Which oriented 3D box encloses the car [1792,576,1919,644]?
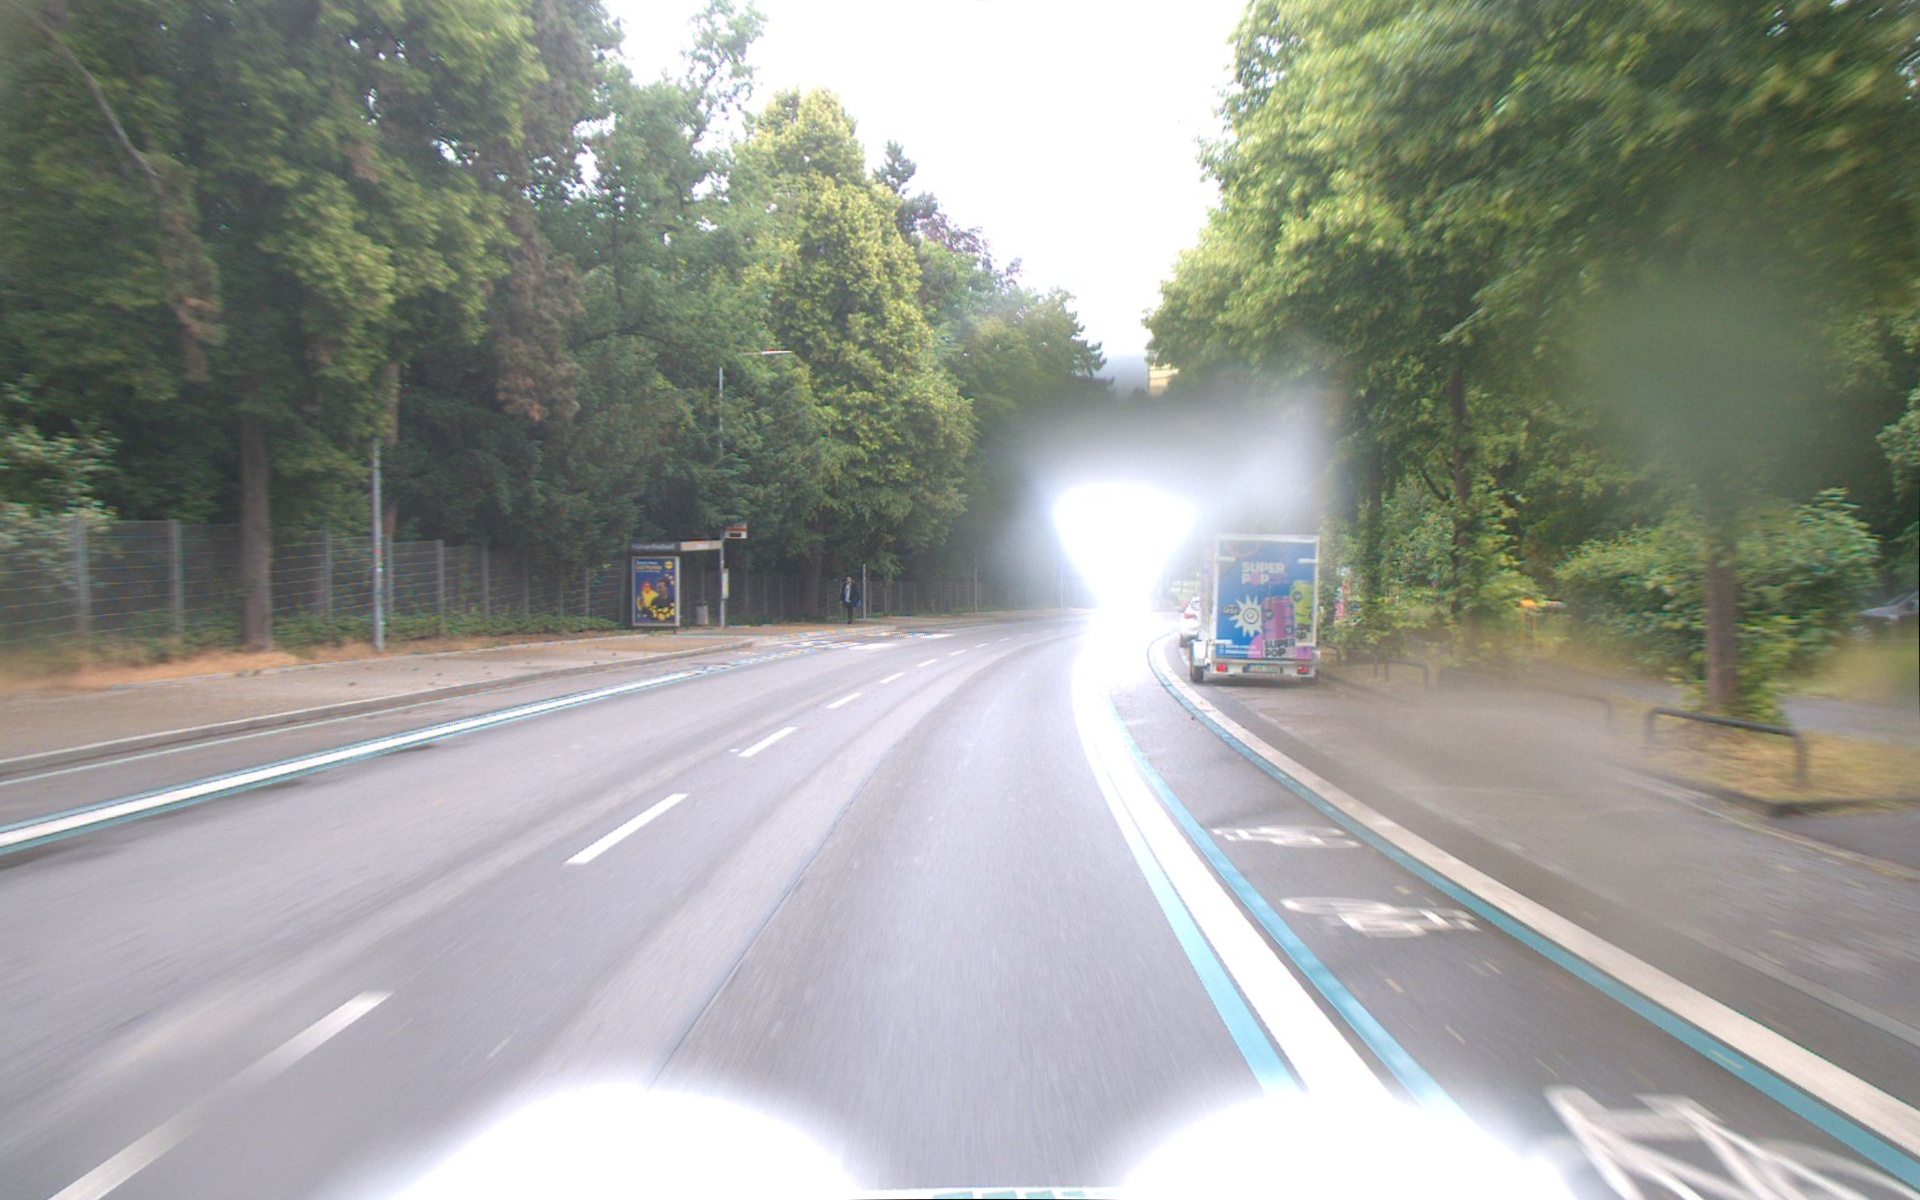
[{"bbox_3d":[19.788,0.189,34.470,4.048,1.345,1.892,-1,0,16],"label":"car"}]

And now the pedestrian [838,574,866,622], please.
[{"bbox_3d":[-4.078,-0.068,62.304,0.868,1.763,1.147,1,0,4],"label":"pedestrian"}]

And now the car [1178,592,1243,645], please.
[{"bbox_3d":[7.596,0.538,50.074,1.820,1.453,4.653,2,0,9],"label":"car"}]

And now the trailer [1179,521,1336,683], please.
[{"bbox_3d":[5.394,0.017,30.757,2.267,2.718,5.379,1,0,4],"label":"trailer"}]
